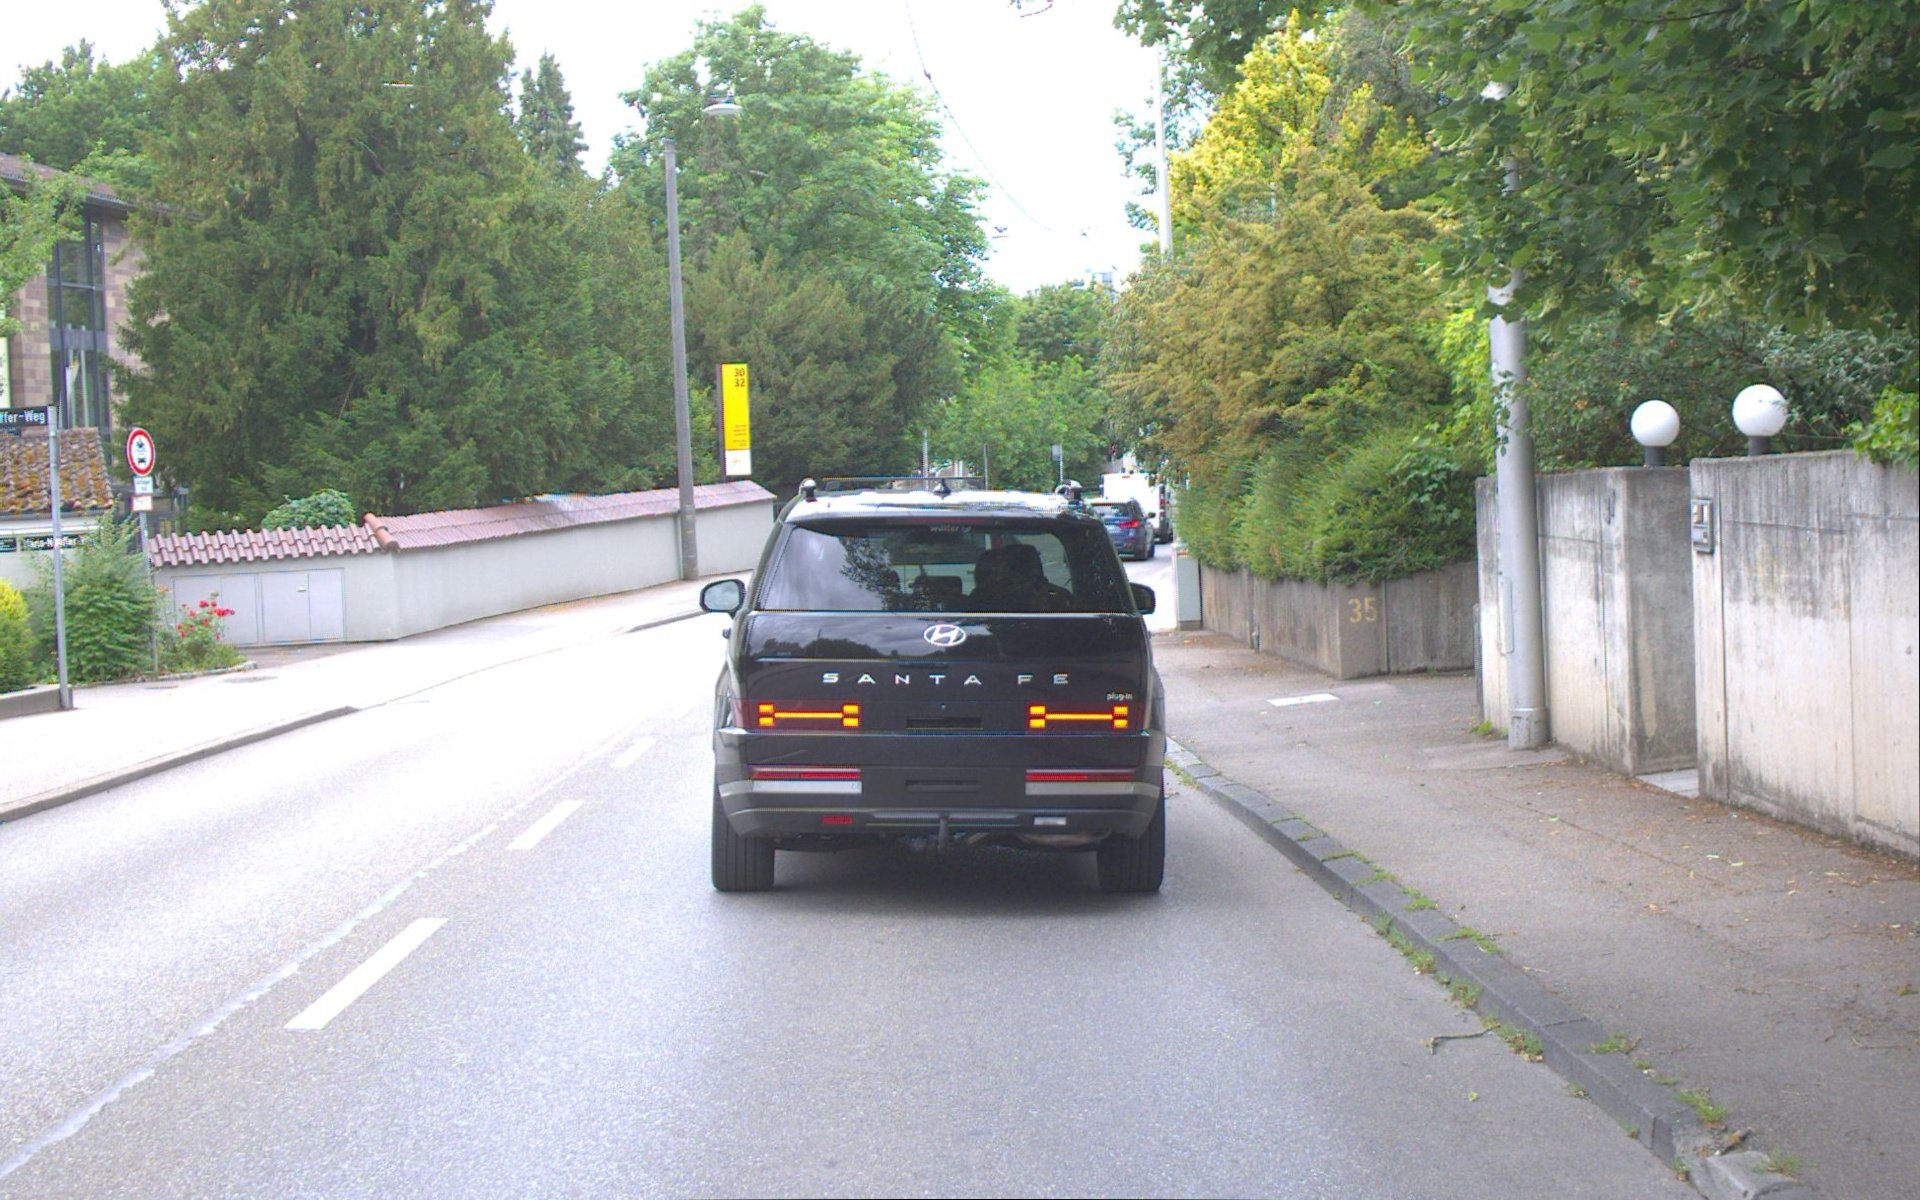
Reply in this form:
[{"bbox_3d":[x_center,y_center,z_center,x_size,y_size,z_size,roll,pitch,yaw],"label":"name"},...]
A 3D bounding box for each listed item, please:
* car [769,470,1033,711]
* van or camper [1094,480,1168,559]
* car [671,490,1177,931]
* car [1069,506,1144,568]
[{"bbox_3d":[-0.452,-0.161,30.876,1.957,1.949,4.223,0,3,5],"label":"car"},{"bbox_3d":[4.774,-2.267,95.662,1.676,2.000,3.937,-2,3,7],"label":"van or camper"},{"bbox_3d":[-0.170,0.377,15.477,1.957,1.707,4.224,0,1,-1],"label":"car"},{"bbox_3d":[3.494,-1.494,81.594,1.676,1.417,3.937,-1,1,4],"label":"car"}]
